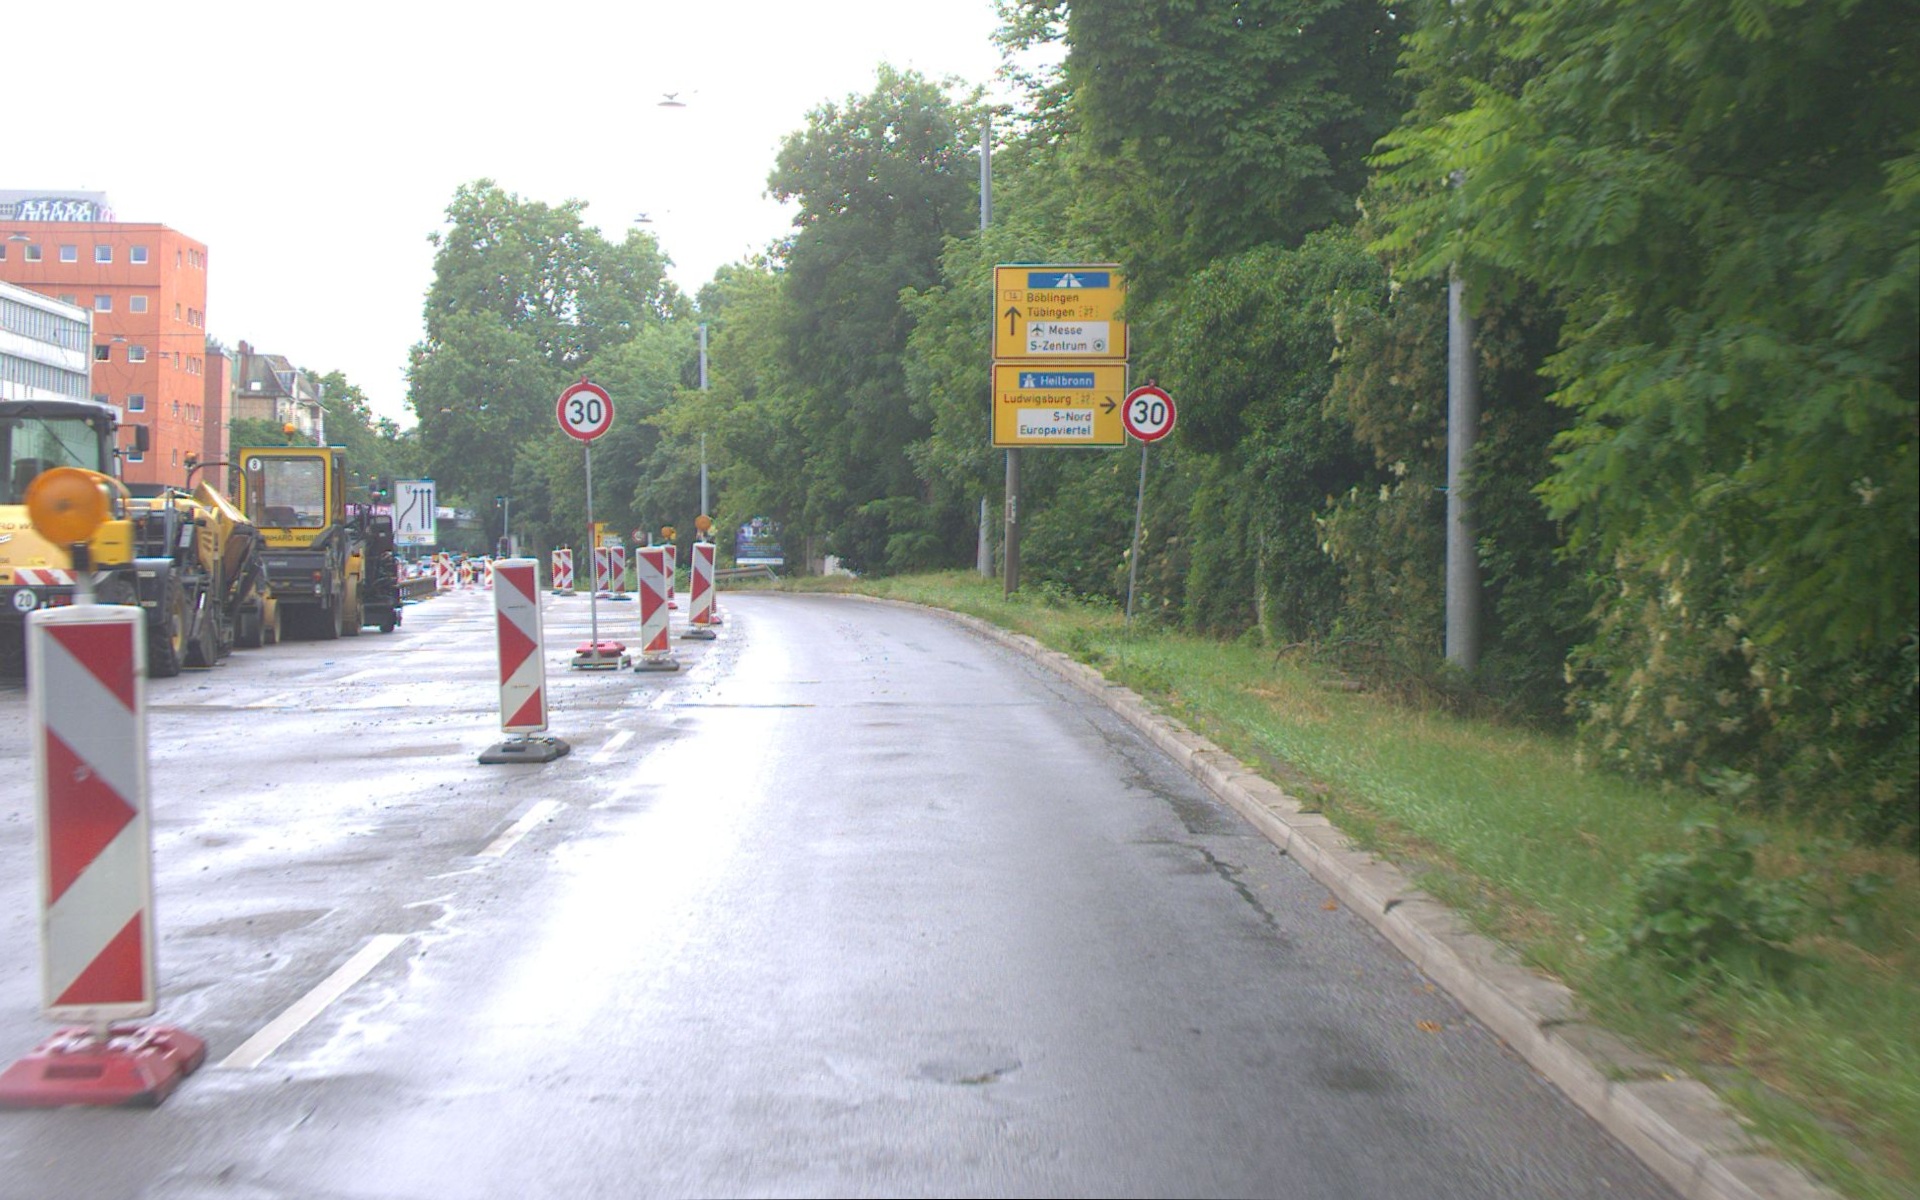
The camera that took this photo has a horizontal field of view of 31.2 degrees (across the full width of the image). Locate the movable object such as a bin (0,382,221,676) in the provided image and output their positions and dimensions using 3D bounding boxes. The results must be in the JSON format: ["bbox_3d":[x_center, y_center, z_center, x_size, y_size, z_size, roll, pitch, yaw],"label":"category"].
[{"bbox_3d":[-8.654,-0.691,33.270,1.902,2.600,5.383,1,1,-1],"label":"movable object such as a bin"}]

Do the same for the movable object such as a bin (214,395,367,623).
[{"bbox_3d":[-9.205,-1.249,47.498,1.465,2.998,3.725,-1,1,-2],"label":"movable object such as a bin"}]

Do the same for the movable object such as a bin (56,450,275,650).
[{"bbox_3d":[-8.877,-0.579,38.775,1.362,2.083,5.030,1,1,-1],"label":"movable object such as a bin"}]

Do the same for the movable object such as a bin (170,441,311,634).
[{"bbox_3d":[-9.224,-0.807,44.218,1.410,2.393,2.406,-1,1,-4],"label":"movable object such as a bin"}]

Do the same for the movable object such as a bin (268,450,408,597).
[{"bbox_3d":[-9.402,-1.160,52.155,1.715,2.142,3.350,-1,1,-4],"label":"movable object such as a bin"}]
